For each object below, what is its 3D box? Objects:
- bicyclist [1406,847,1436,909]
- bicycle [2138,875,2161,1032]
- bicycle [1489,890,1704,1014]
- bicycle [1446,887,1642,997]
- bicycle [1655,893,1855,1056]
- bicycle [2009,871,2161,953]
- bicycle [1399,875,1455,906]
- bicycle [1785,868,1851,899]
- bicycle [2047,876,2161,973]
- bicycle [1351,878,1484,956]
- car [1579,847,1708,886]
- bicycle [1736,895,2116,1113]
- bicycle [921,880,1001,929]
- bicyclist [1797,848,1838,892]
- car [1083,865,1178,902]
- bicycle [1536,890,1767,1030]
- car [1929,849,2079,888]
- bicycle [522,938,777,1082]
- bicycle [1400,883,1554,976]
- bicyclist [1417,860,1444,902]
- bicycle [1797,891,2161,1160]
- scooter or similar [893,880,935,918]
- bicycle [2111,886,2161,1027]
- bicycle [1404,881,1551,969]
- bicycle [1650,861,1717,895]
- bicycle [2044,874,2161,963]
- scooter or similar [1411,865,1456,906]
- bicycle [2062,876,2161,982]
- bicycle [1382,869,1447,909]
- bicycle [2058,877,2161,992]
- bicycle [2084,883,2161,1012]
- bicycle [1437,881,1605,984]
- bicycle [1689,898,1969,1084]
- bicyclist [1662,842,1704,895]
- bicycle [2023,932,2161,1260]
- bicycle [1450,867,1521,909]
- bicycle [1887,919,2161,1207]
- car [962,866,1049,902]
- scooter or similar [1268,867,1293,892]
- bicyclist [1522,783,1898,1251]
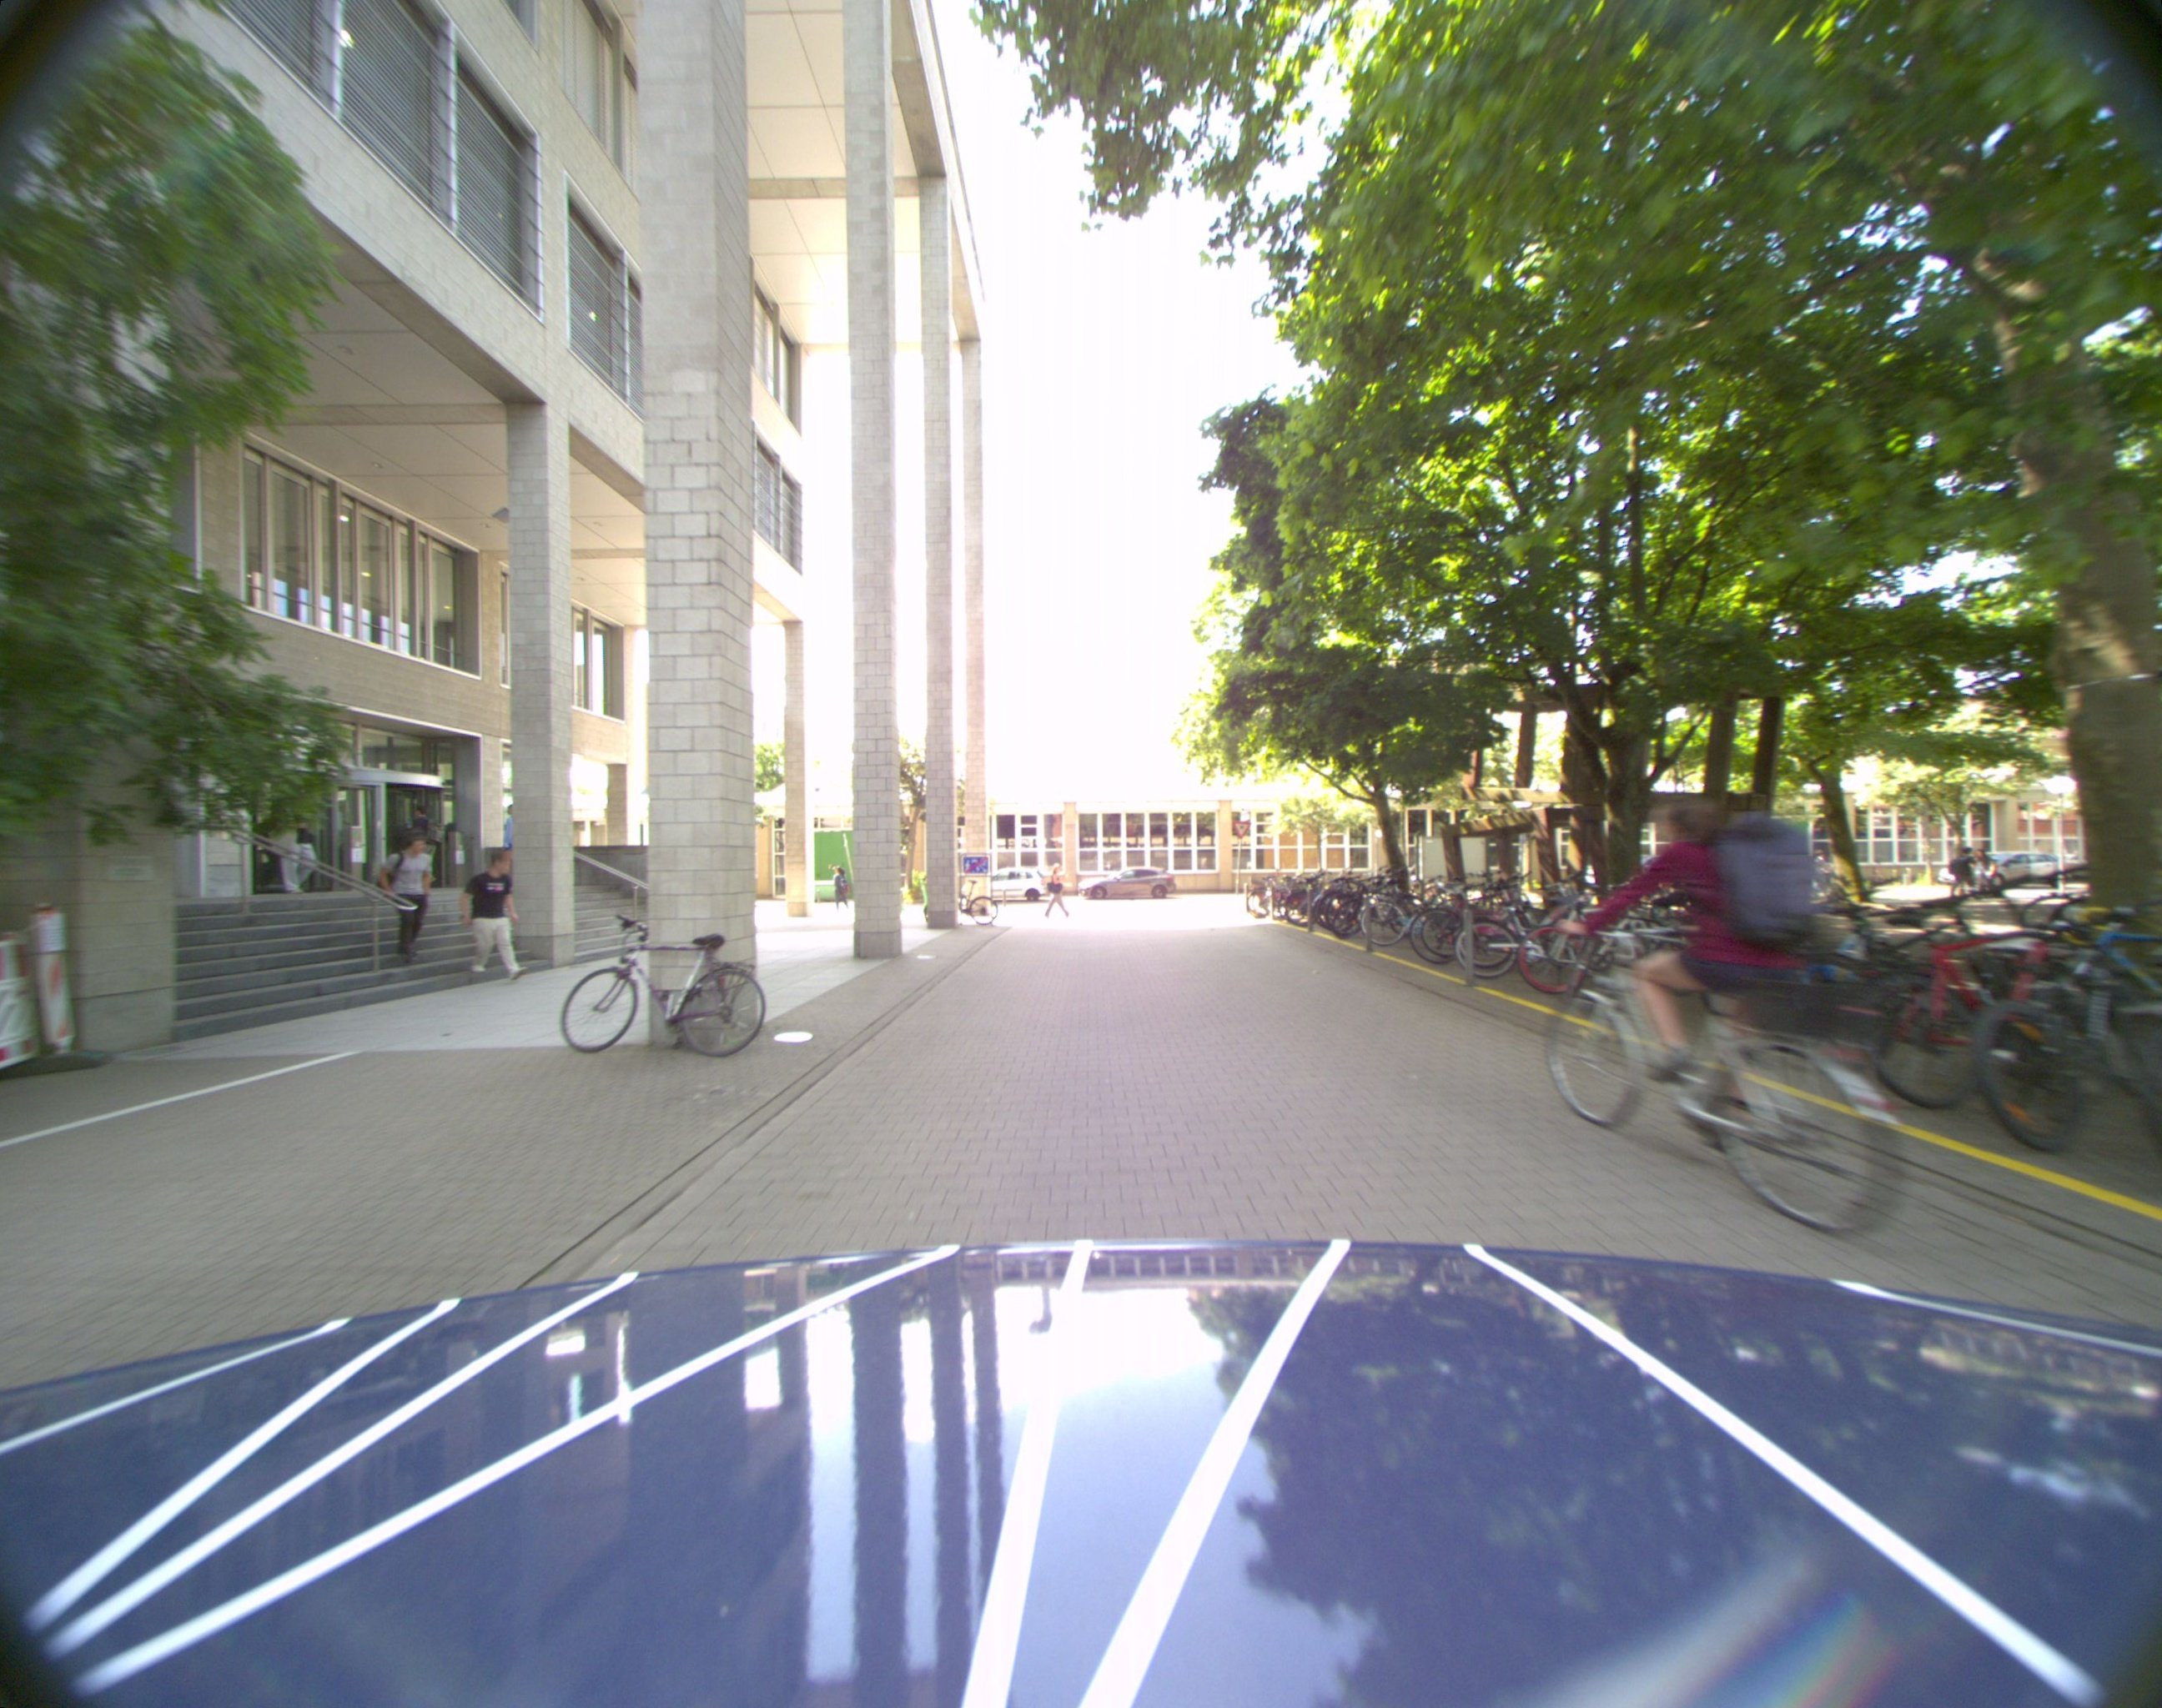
[{"bbox_3d":[10.843,0.752,24.253,0.865,1.882,0.806,0,4,25],"label":"bicyclist"},{"bbox_3d":[9.000,0.751,5.358,1.695,1.192,0.577,-2,1,37],"label":"bicycle"},{"bbox_3d":[5.020,0.943,7.450,1.739,1.101,0.497,-2,1,1],"label":"bicycle"},{"bbox_3d":[4.999,0.941,8.324,1.737,1.101,0.575,-2,0,20],"label":"bicycle"},{"bbox_3d":[5.492,0.916,6.172,1.742,1.101,0.496,-2,1,-23],"label":"bicycle"},{"bbox_3d":[14.768,0.802,10.836,0.504,1.101,1.902,-2,0,-37],"label":"bicycle"},{"bbox_3d":[12.873,1.367,28.310,1.829,1.102,0.605,-1,2,3],"label":"bicycle"},{"bbox_3d":[26.803,1.067,27.643,1.818,1.102,0.640,-1,1,-3],"label":"bicycle"},{"bbox_3d":[12.816,0.821,8.957,1.695,1.101,0.504,-2,1,41],"label":"bicycle"},{"bbox_3d":[5.107,0.952,11.627,1.724,1.101,0.720,-2,0,12],"label":"bicycle"},{"bbox_3d":[25.528,0.558,34.589,4.536,1.608,1.838,-1,1,-1],"label":"car"},{"bbox_3d":[5.092,0.880,4.632,1.739,1.172,0.497,-2,1,0],"label":"bicycle"},{"bbox_3d":[-2.944,1.237,18.729,1.886,1.157,0.605,1,-1,-4],"label":"bicycle"},{"bbox_3d":[26.762,0.571,27.625,0.874,1.564,0.640,-1,1,-3],"label":"bicyclist"},{"bbox_3d":[2.242,1.330,34.885,4.208,1.467,1.653,-2,1,1],"label":"car"},{"bbox_3d":[5.099,0.926,6.829,1.740,1.119,0.497,-2,1,-4],"label":"bicycle"},{"bbox_3d":[41.367,0.638,34.130,4.536,1.624,1.838,-1,-1,-1],"label":"car"},{"bbox_3d":[-3.407,1.221,6.080,1.743,1.033,0.449,-1,-1,-4],"label":"bicycle"},{"bbox_3d":[4.951,0.948,9.589,1.627,1.101,0.497,-2,1,15],"label":"bicycle"},{"bbox_3d":[13.002,1.008,28.303,0.727,1.526,0.605,-1,2,3],"label":"bicyclist"},{"bbox_3d":[4.886,0.860,4.074,1.740,1.228,0.497,-2,1,-6],"label":"bicycle"},{"bbox_3d":[-5.115,1.370,23.233,1.157,1.144,0.444,-1,0,5],"label":"scooter or similar"},{"bbox_3d":[9.405,0.812,5.833,1.695,1.101,0.504,-2,1,37],"label":"bicycle"},{"bbox_3d":[5.235,0.937,10.121,1.627,1.101,0.563,-2,0,15],"label":"bicycle"},{"bbox_3d":[22.289,0.890,28.138,1.885,1.134,0.675,-3,2,2],"label":"bicycle"},{"bbox_3d":[13.860,0.820,9.790,0.504,1.101,1.775,-2,0,-37],"label":"bicycle"},{"bbox_3d":[10.678,0.951,23.025,1.182,1.187,0.293,-1,-1,36],"label":"scooter or similar"},{"bbox_3d":[11.938,0.801,8.107,1.695,1.101,0.633,-2,0,41],"label":"bicycle"},{"bbox_3d":[10.690,1.101,24.350,1.881,1.165,0.806,0,2,25],"label":"bicycle"},{"bbox_3d":[10.996,0.787,7.429,1.695,1.101,0.504,-2,1,41],"label":"bicycle"},{"bbox_3d":[10.071,0.813,6.516,1.695,1.101,0.504,-2,1,37],"label":"bicycle"},{"bbox_3d":[5.149,0.917,8.975,1.627,1.137,0.497,-2,1,15],"label":"bicycle"},{"bbox_3d":[5.226,0.911,5.322,1.741,1.101,0.496,-2,1,-12],"label":"bicycle"},{"bbox_3d":[22.268,0.523,28.130,0.968,1.877,0.675,-3,2,2],"label":"bicyclist"},{"bbox_3d":[4.787,0.902,3.072,1.700,1.139,0.473,-2,1,-11],"label":"bicycle"},{"bbox_3d":[11.549,0.961,21.696,1.839,1.101,0.393,-2,1,-6],"label":"bicycle"},{"bbox_3d":[4.813,0.916,3.597,1.700,1.101,0.496,-2,1,-10],"label":"bicycle"},{"bbox_3d":[-3.398,1.361,34.814,3.776,1.468,1.653,-1,2,1],"label":"car"},{"bbox_3d":[9.877,1.277,37.620,1.157,1.219,0.290,-1,0,4],"label":"scooter or similar"},{"bbox_3d":[2.638,0.613,3.314,0.773,1.706,0.911,-5,1,-2],"label":"bicyclist"}]
